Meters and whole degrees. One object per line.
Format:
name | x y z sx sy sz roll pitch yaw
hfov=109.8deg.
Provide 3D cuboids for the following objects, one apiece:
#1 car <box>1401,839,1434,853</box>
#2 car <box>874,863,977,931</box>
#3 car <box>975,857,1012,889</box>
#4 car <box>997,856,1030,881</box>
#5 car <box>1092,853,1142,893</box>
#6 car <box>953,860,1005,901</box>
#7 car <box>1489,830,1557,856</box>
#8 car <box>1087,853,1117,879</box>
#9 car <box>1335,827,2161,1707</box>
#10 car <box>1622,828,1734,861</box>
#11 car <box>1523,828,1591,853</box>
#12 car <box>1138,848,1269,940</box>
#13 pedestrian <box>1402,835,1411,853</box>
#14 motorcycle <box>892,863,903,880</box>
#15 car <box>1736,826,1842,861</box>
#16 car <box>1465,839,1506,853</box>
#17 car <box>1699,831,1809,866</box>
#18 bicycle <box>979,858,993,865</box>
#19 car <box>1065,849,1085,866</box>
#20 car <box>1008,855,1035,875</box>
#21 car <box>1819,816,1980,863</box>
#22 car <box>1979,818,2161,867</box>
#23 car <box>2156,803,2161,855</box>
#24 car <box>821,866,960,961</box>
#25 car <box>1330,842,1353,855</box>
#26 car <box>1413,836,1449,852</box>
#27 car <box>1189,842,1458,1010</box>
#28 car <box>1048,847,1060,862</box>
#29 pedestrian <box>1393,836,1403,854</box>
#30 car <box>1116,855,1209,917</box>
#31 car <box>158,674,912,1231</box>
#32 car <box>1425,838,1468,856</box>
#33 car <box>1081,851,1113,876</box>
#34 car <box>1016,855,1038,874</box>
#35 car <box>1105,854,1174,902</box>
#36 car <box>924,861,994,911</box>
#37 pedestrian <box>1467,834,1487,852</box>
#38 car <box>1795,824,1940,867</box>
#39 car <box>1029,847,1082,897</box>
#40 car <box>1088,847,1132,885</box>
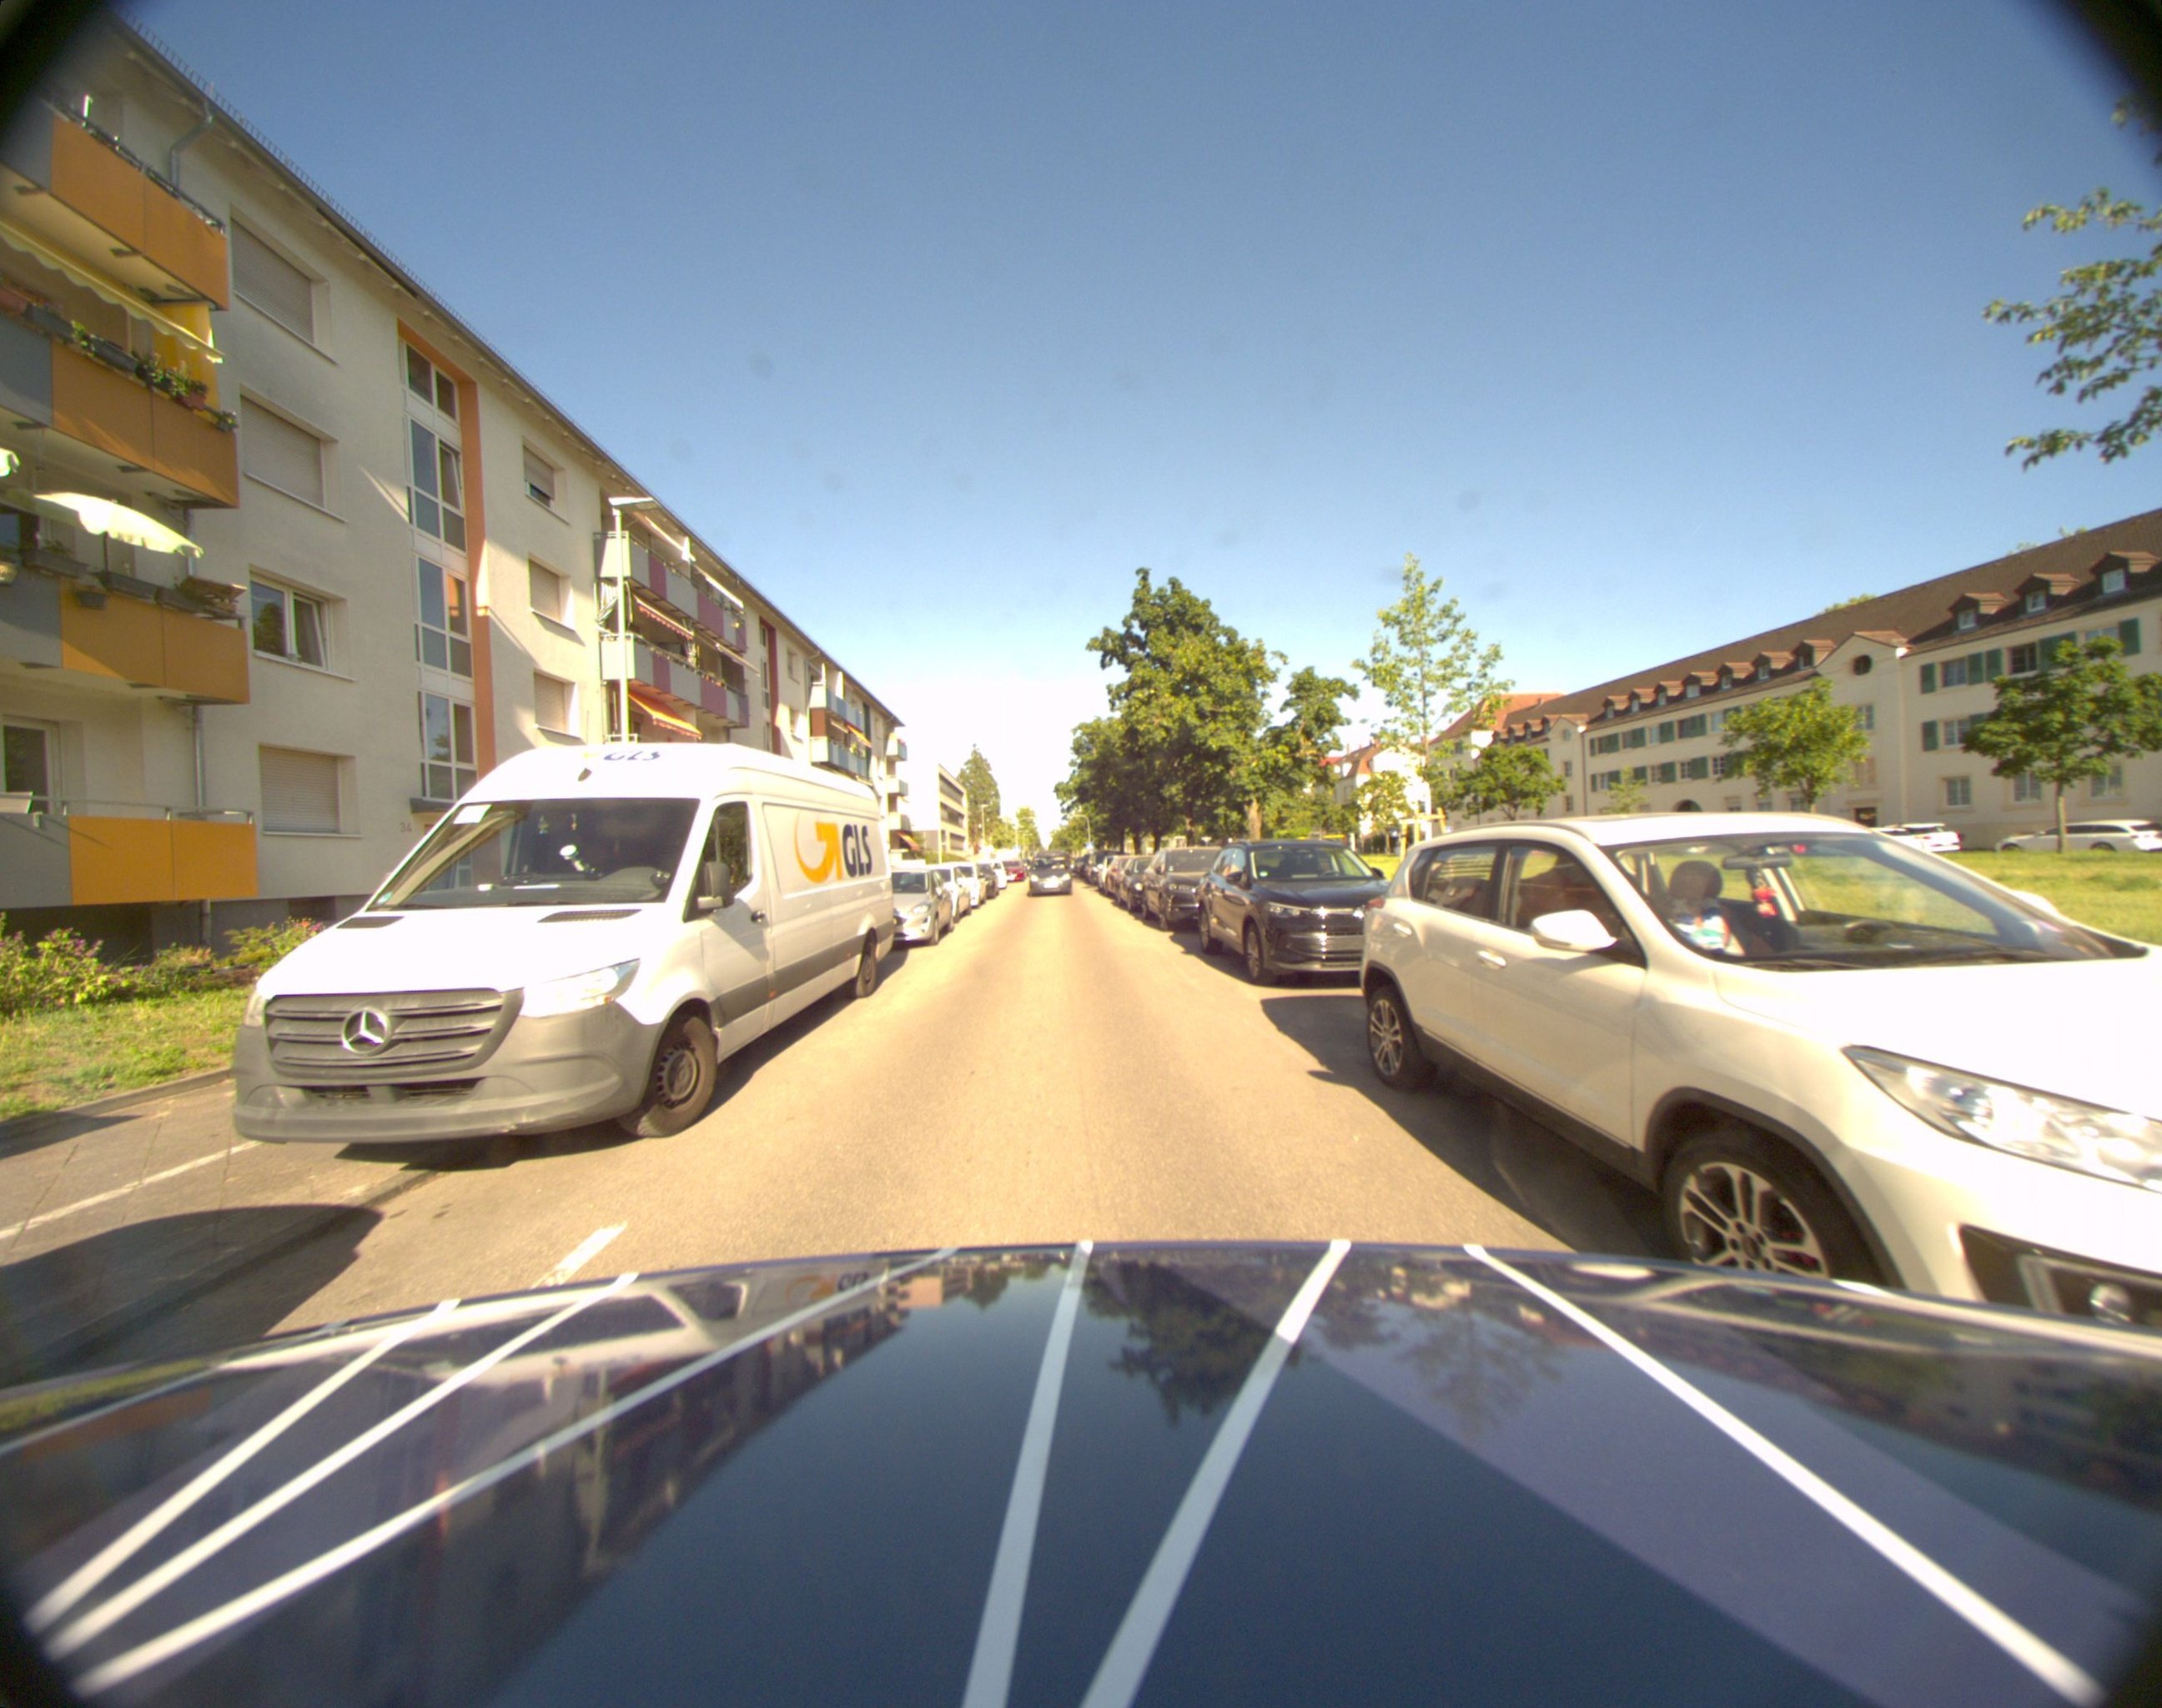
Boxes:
car | 34.542 -0.803 78.044 1.654 1.325 3.514 -2 0 -3
car | -3.916 1.022 19.792 1.883 1.466 4.139 -2 0 -2
car | -4.443 0.957 39.169 1.753 1.490 3.859 -2 0 -5
car | -4.418 0.941 50.212 1.848 1.464 5.064 -2 0 -3
car | 1.386 0.697 30.511 1.591 1.484 3.684 -1 0 -3
car | -4.036 1.011 30.599 1.704 1.427 4.470 -1 0 -3
car | 35.656 -0.856 61.456 2.226 1.973 5.256 -2 0 -2
car | 1.219 0.700 45.414 1.542 1.420 4.086 -2 0 -1
car | 2.731 0.754 3.303 1.761 1.637 4.286 -1 0 -1
car | 36.217 -0.558 46.318 2.457 1.810 5.453 -2 0 -1
car | 40.859 -1.126 65.367 2.227 1.973 5.255 -2 0 -4
car | 2.366 0.707 15.902 1.824 1.600 4.737 -1 0 -2
pedestrian | 30.185 -0.944 70.471 0.544 1.675 0.674 -2 1 3
motorcycle | -12.818 1.203 53.199 0.584 1.145 2.035 -3 1 -11
car | 41.835 -0.620 45.061 2.270 1.894 4.165 -2 0 -3
car | 40.377 -0.772 75.895 1.774 1.348 3.999 -2 0 -3
car | 36.413 -0.283 41.266 2.323 1.740 4.008 -2 0 -1
bicycle | -13.768 1.060 110.057 2.030 1.057 0.882 1 0 -3
car | -0.706 0.381 86.591 2.021 1.867 4.740 -2 0 2
car | -4.739 0.857 61.042 1.774 1.520 4.557 -2 0 -1
car | 42.205 -0.703 39.421 2.538 2.203 5.256 -2 0 -4
car | 42.317 -0.485 32.249 2.159 1.875 5.157 -2 0 -2
car | 42.437 -0.972 27.433 1.670 2.002 3.895 -2 1 -2
car | -3.590 1.043 15.114 1.854 1.457 4.200 -3 0 -3
car | 38.786 -0.852 113.274 1.955 1.783 3.999 -2 0 -1
car | 46.637 -1.382 101.256 3.813 1.944 2.043 -2 0 0
car | 2.723 0.698 9.824 1.848 1.629 4.714 -1 0 -2
car | -4.943 0.078 139.737 2.074 2.583 6.201 -2 0 -1
pedestrian | 29.421 -0.827 70.516 0.545 1.675 0.750 -2 1 0
car | 2.107 0.789 20.927 1.878 1.510 4.469 0 0 -3
car | -3.418 0.473 7.141 2.148 2.697 6.840 -1 0 -1
car | 34.931 -0.688 72.709 1.794 1.574 4.234 -2 0 -3
car | 1.048 0.625 51.678 2.031 1.616 4.756 -1 0 -1
car | -4.671 0.875 66.521 1.663 1.465 3.792 -4 0 -2
car | 1.907 0.752 26.092 1.760 1.483 4.666 -1 0 -3
car | -3.953 0.988 25.169 1.726 1.427 4.151 -2 0 -2
pedestrian | 42.430 -1.174 81.416 1.343 1.952 1.163 -2 1 -8
car | 36.633 -0.383 35.587 2.242 1.810 4.256 -2 0 -4
car | -1.053 0.690 30.510 1.903 1.779 4.156 -2 0 -3
car | 1.431 0.555 39.329 1.869 1.774 4.989 -2 1 -2
